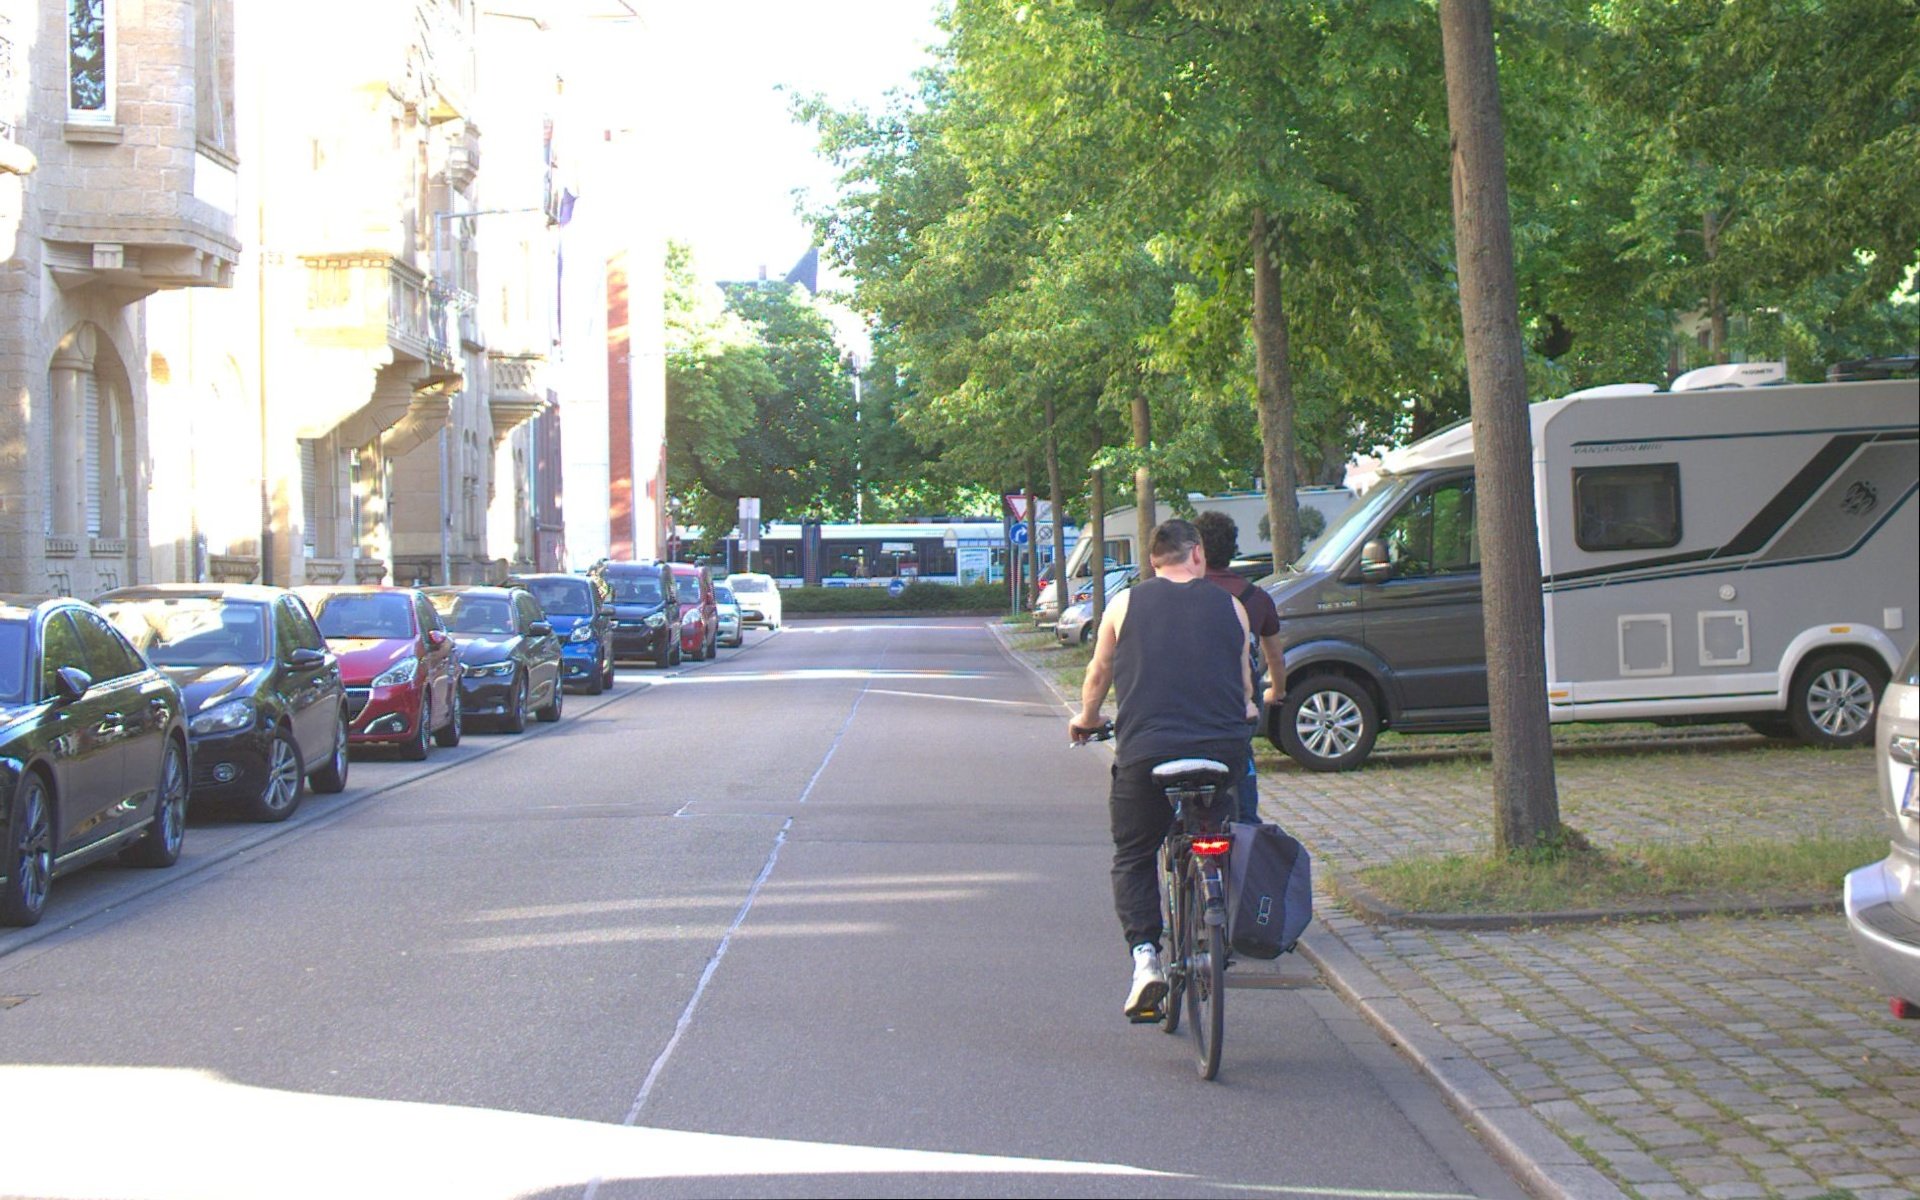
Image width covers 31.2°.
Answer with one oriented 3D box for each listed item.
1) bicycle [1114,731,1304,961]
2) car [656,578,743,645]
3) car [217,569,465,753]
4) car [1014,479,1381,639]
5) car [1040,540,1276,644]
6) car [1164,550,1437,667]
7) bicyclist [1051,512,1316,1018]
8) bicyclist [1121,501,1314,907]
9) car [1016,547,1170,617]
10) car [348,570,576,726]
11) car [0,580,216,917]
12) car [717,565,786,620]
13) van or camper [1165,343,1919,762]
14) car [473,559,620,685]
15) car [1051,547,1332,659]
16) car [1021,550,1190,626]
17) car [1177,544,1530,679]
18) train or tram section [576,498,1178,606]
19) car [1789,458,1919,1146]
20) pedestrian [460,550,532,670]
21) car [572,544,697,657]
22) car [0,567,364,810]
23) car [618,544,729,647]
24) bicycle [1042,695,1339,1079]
[{"bbox_3d":[1.016,0.997,14.381,0.633,0.796,1.832,-1,1,-1],"label":"bicycle"},{"bbox_3d":[-5.752,0.229,76.190,1.583,1.339,4.131,2,1,0],"label":"car"},{"bbox_3d":[-5.309,0.480,29.888,1.628,1.448,3.838,1,1,-3],"label":"car"},{"bbox_3d":[4.796,-0.839,70.257,7.146,2.968,2.465,-2,0,-3],"label":"car"},{"bbox_3d":[3.591,-0.142,62.838,4.082,1.644,1.641,-3,0,-2],"label":"car"},{"bbox_3d":[4.855,0.132,49.385,3.773,1.594,1.690,-1,-1,1],"label":"car"},{"bbox_3d":[0.701,0.511,11.056,0.730,1.542,0.884,2,0,-2],"label":"bicyclist"},{"bbox_3d":[1.058,0.412,14.309,0.689,1.621,0.998,1,0,-1],"label":"bicyclist"},{"bbox_3d":[3.557,-0.484,92.541,3.986,1.797,1.834,1,0,-2],"label":"car"},{"bbox_3d":[-5.130,0.452,35.920,1.675,1.425,4.550,2,1,0],"label":"car"},{"bbox_3d":[-5.082,0.623,16.900,1.811,1.422,4.898,2,0,-1],"label":"car"},{"bbox_3d":[-5.671,-0.214,93.634,1.583,1.371,4.131,2,1,0],"label":"car"},{"bbox_3d":[5.206,-0.405,25.406,7.147,2.638,2.464,-3,1,2],"label":"van or camper"},{"bbox_3d":[-5.373,0.267,44.926,1.595,1.484,2.737,3,1,-2],"label":"car"},{"bbox_3d":[3.450,0.061,51.815,4.139,1.594,1.702,-1,-1,2],"label":"car"},{"bbox_3d":[3.563,-0.294,84.655,3.986,1.797,1.834,1,0,-2],"label":"car"},{"bbox_3d":[4.864,0.164,42.943,4.223,1.594,1.690,-1,-1,2],"label":"car"},{"bbox_3d":[-3.075,-1.809,136.034,23.799,3.696,4.287,1,0,-22],"label":"train or tram section"},{"bbox_3d":[4.664,0.410,8.748,4.619,1.704,1.833,-2,1,1],"label":"car"},{"bbox_3d":[-6.834,0.142,50.629,0.938,1.736,0.735,1,0,0],"label":"pedestrian"},{"bbox_3d":[-5.449,-0.030,58.026,1.640,1.777,4.354,2,1,0],"label":"car"},{"bbox_3d":[-5.057,0.533,22.613,1.696,1.448,4.028,0,0,-2],"label":"car"},{"bbox_3d":[-5.383,-0.123,65.043,1.689,1.819,4.273,2,1,0],"label":"car"},{"bbox_3d":[0.695,0.864,10.993,0.737,1.050,1.956,2,0,-2],"label":"bicycle"}]
